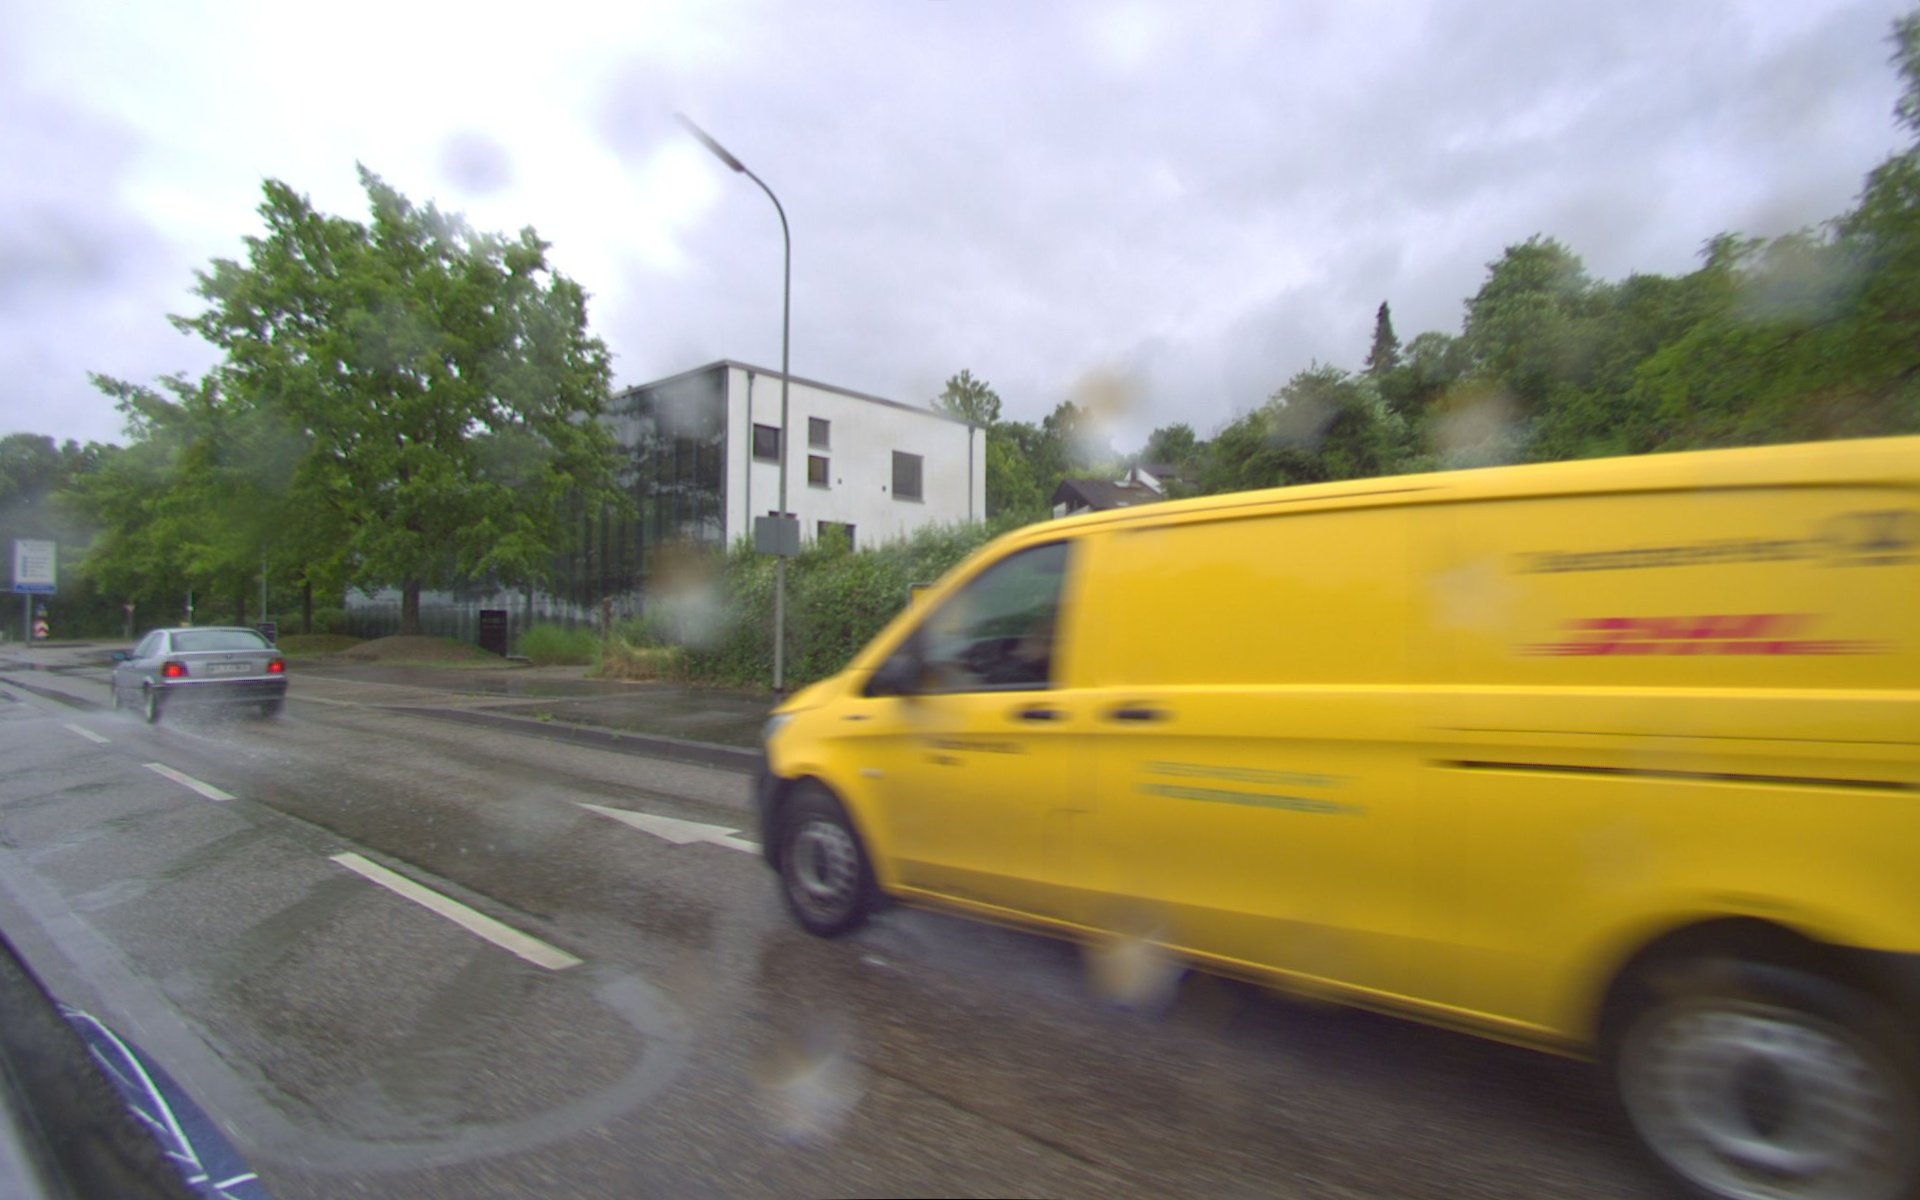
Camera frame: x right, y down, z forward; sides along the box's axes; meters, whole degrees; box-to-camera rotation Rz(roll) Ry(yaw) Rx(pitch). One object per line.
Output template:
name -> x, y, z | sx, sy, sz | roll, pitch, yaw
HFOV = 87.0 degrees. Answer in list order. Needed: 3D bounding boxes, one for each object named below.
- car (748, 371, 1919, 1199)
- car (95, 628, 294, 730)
car -> 1.483, 0.528, 3.764 | 5.036, 1.886, 1.916 | -2, -2, 43
car -> -11.793, 1.118, 15.512 | 3.904, 1.360, 1.684 | -2, -2, 41
